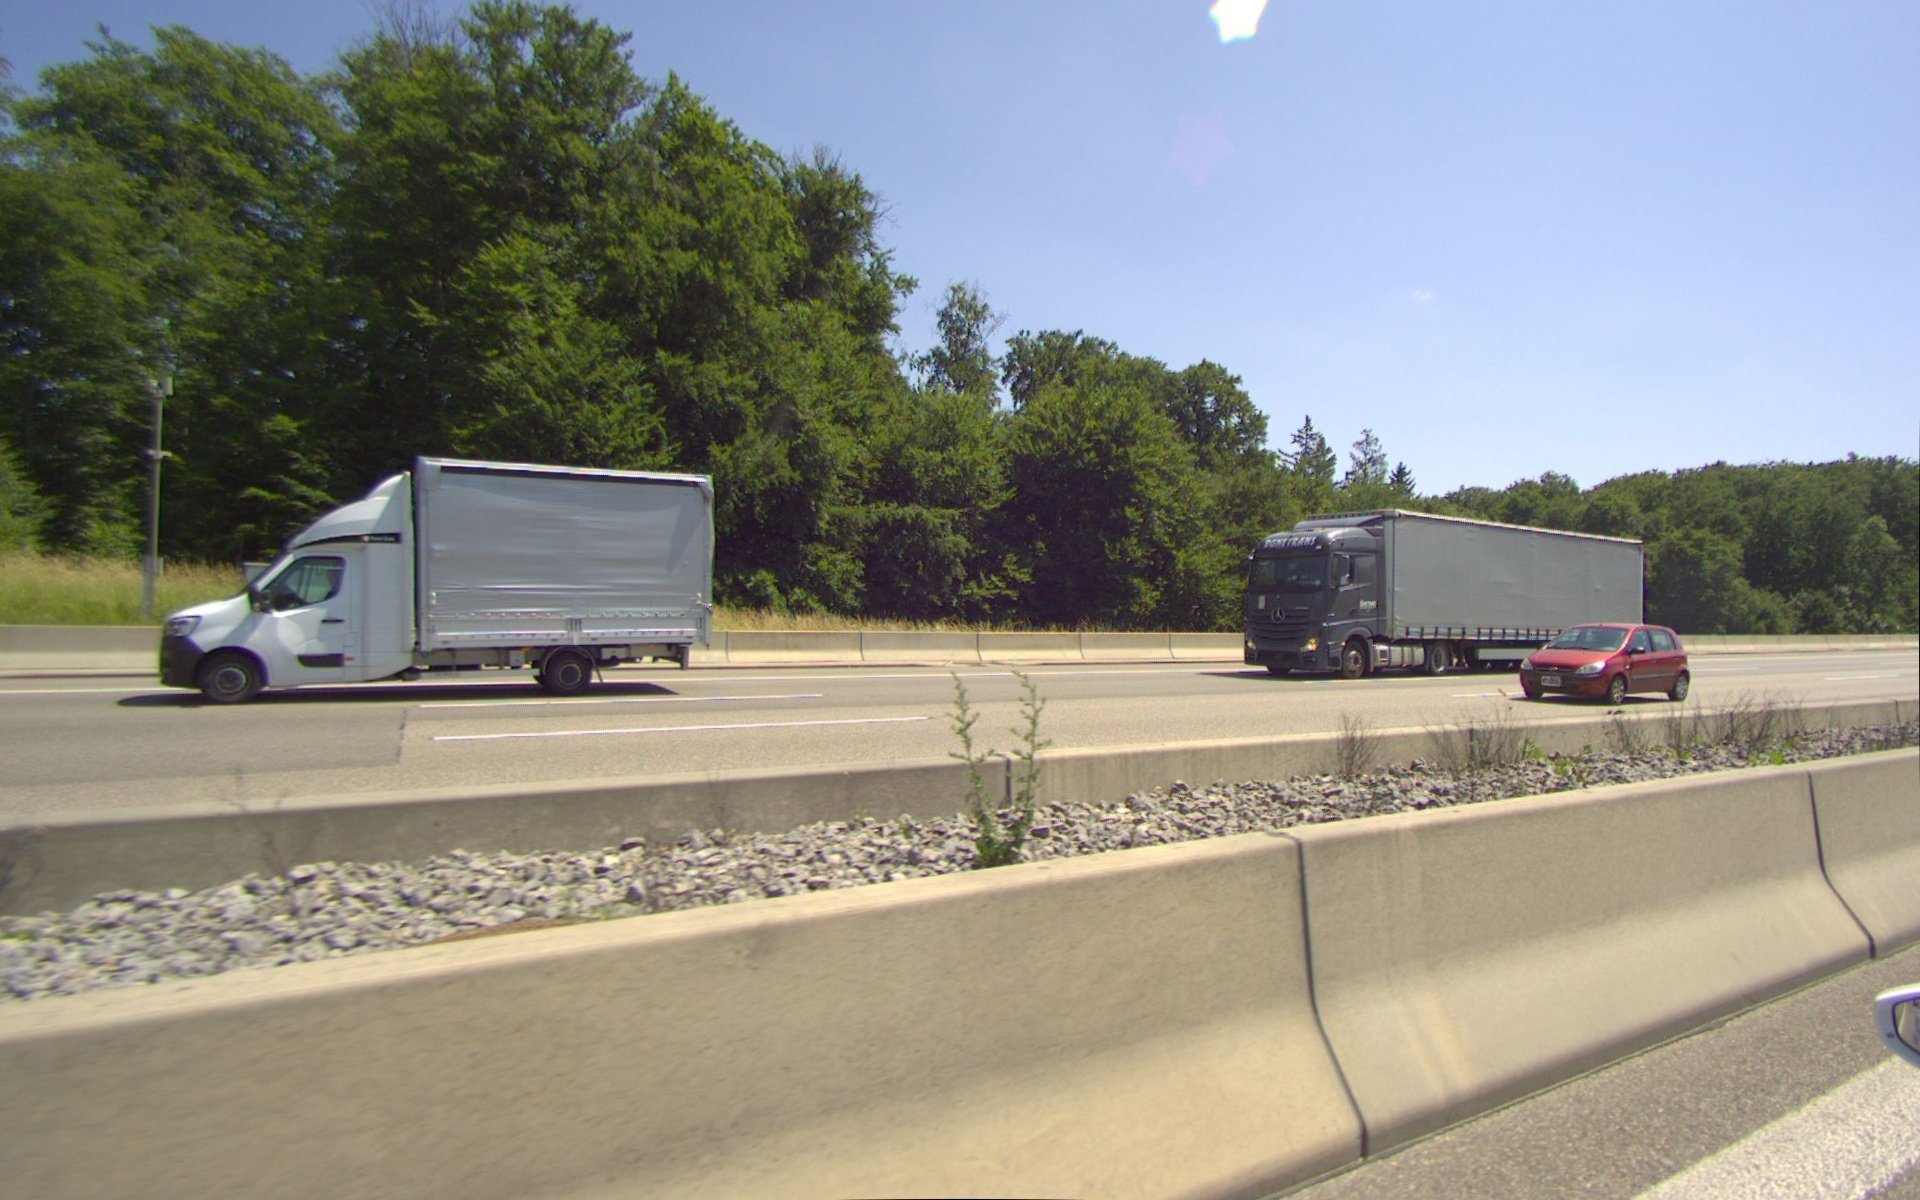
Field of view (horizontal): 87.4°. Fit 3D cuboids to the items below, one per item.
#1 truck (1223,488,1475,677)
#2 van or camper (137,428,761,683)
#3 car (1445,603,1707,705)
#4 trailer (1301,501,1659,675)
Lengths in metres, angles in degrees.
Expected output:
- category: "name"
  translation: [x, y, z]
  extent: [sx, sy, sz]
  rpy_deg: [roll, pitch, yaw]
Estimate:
- category: "truck"
  translation: [10.154, -0.318, 26.063]
  extent: [6.383, 4.347, 2.860]
  rpy_deg: [2, -1, -33]
- category: "van or camper"
  translation: [-7.496, -0.428, 15.860]
  extent: [7.999, 3.166, 2.751]
  rpy_deg: [3, 0, -30]
- category: "car"
  translation: [12.004, 1.001, 19.509]
  extent: [4.972, 1.751, 2.276]
  rpy_deg: [2, -1, -30]
- category: "trailer"
  translation: [15.855, -0.116, 29.775]
  extent: [13.807, 4.319, 2.848]
  rpy_deg: [2, -1, -33]
